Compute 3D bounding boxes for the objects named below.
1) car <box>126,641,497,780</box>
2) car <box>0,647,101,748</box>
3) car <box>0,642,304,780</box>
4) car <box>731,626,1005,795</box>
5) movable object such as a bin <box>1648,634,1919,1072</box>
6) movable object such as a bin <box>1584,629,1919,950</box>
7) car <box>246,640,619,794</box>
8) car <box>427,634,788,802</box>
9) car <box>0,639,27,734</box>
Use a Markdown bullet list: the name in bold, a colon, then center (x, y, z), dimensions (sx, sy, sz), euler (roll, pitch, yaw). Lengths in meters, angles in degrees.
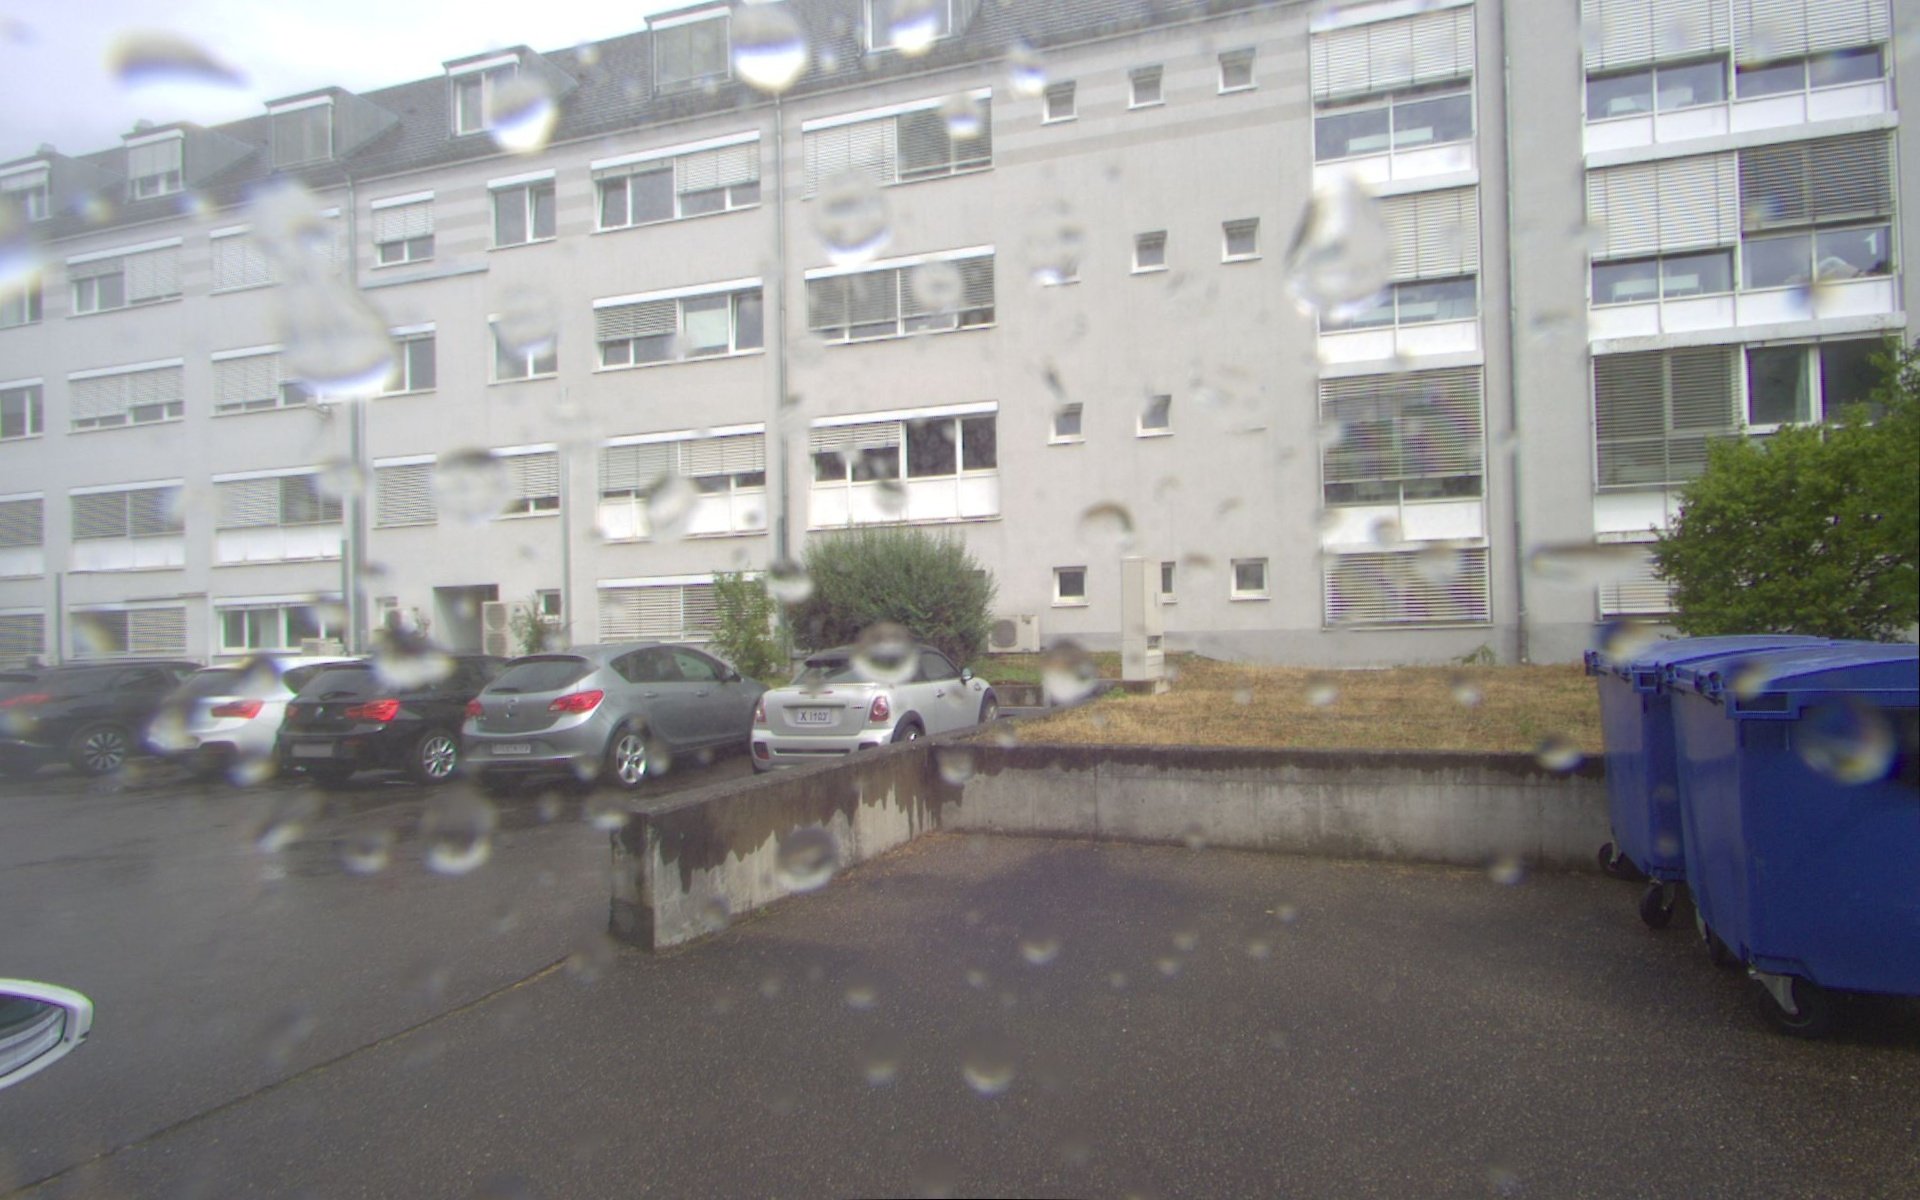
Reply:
- **car**: center (-8.408, 1.358, 13.447), dimensions (1.741, 1.477, 3.995), euler (-2, -1, 17)
- **car**: center (-15.994, 1.579, 15.391), dimensions (1.721, 1.533, 3.916), euler (-2, -1, 17)
- **car**: center (-11.713, 1.443, 14.117), dimensions (1.787, 1.533, 3.917), euler (-2, -1, 15)
- **car**: center (-0.818, 1.079, 10.936), dimensions (1.659, 1.445, 3.419), euler (-2, -1, 20)
- **movable object such as a bin**: center (3.353, 0.810, 3.693), dimensions (1.065, 1.321, 1.372), euler (-2, -1, 24)
- **movable object such as a bin**: center (3.825, 0.825, 4.907), dimensions (1.088, 1.321, 1.186), euler (-2, -1, 23)
- **car**: center (-6.191, 1.287, 12.339), dimensions (1.741, 1.421, 3.993), euler (-1, 0, 17)
- **car**: center (-3.745, 1.183, 11.438), dimensions (1.775, 1.464, 3.993), euler (-2, -1, 19)
- **car**: center (-18.798, 1.600, 17.005), dimensions (1.786, 1.709, 3.913), euler (-2, -1, 21)
